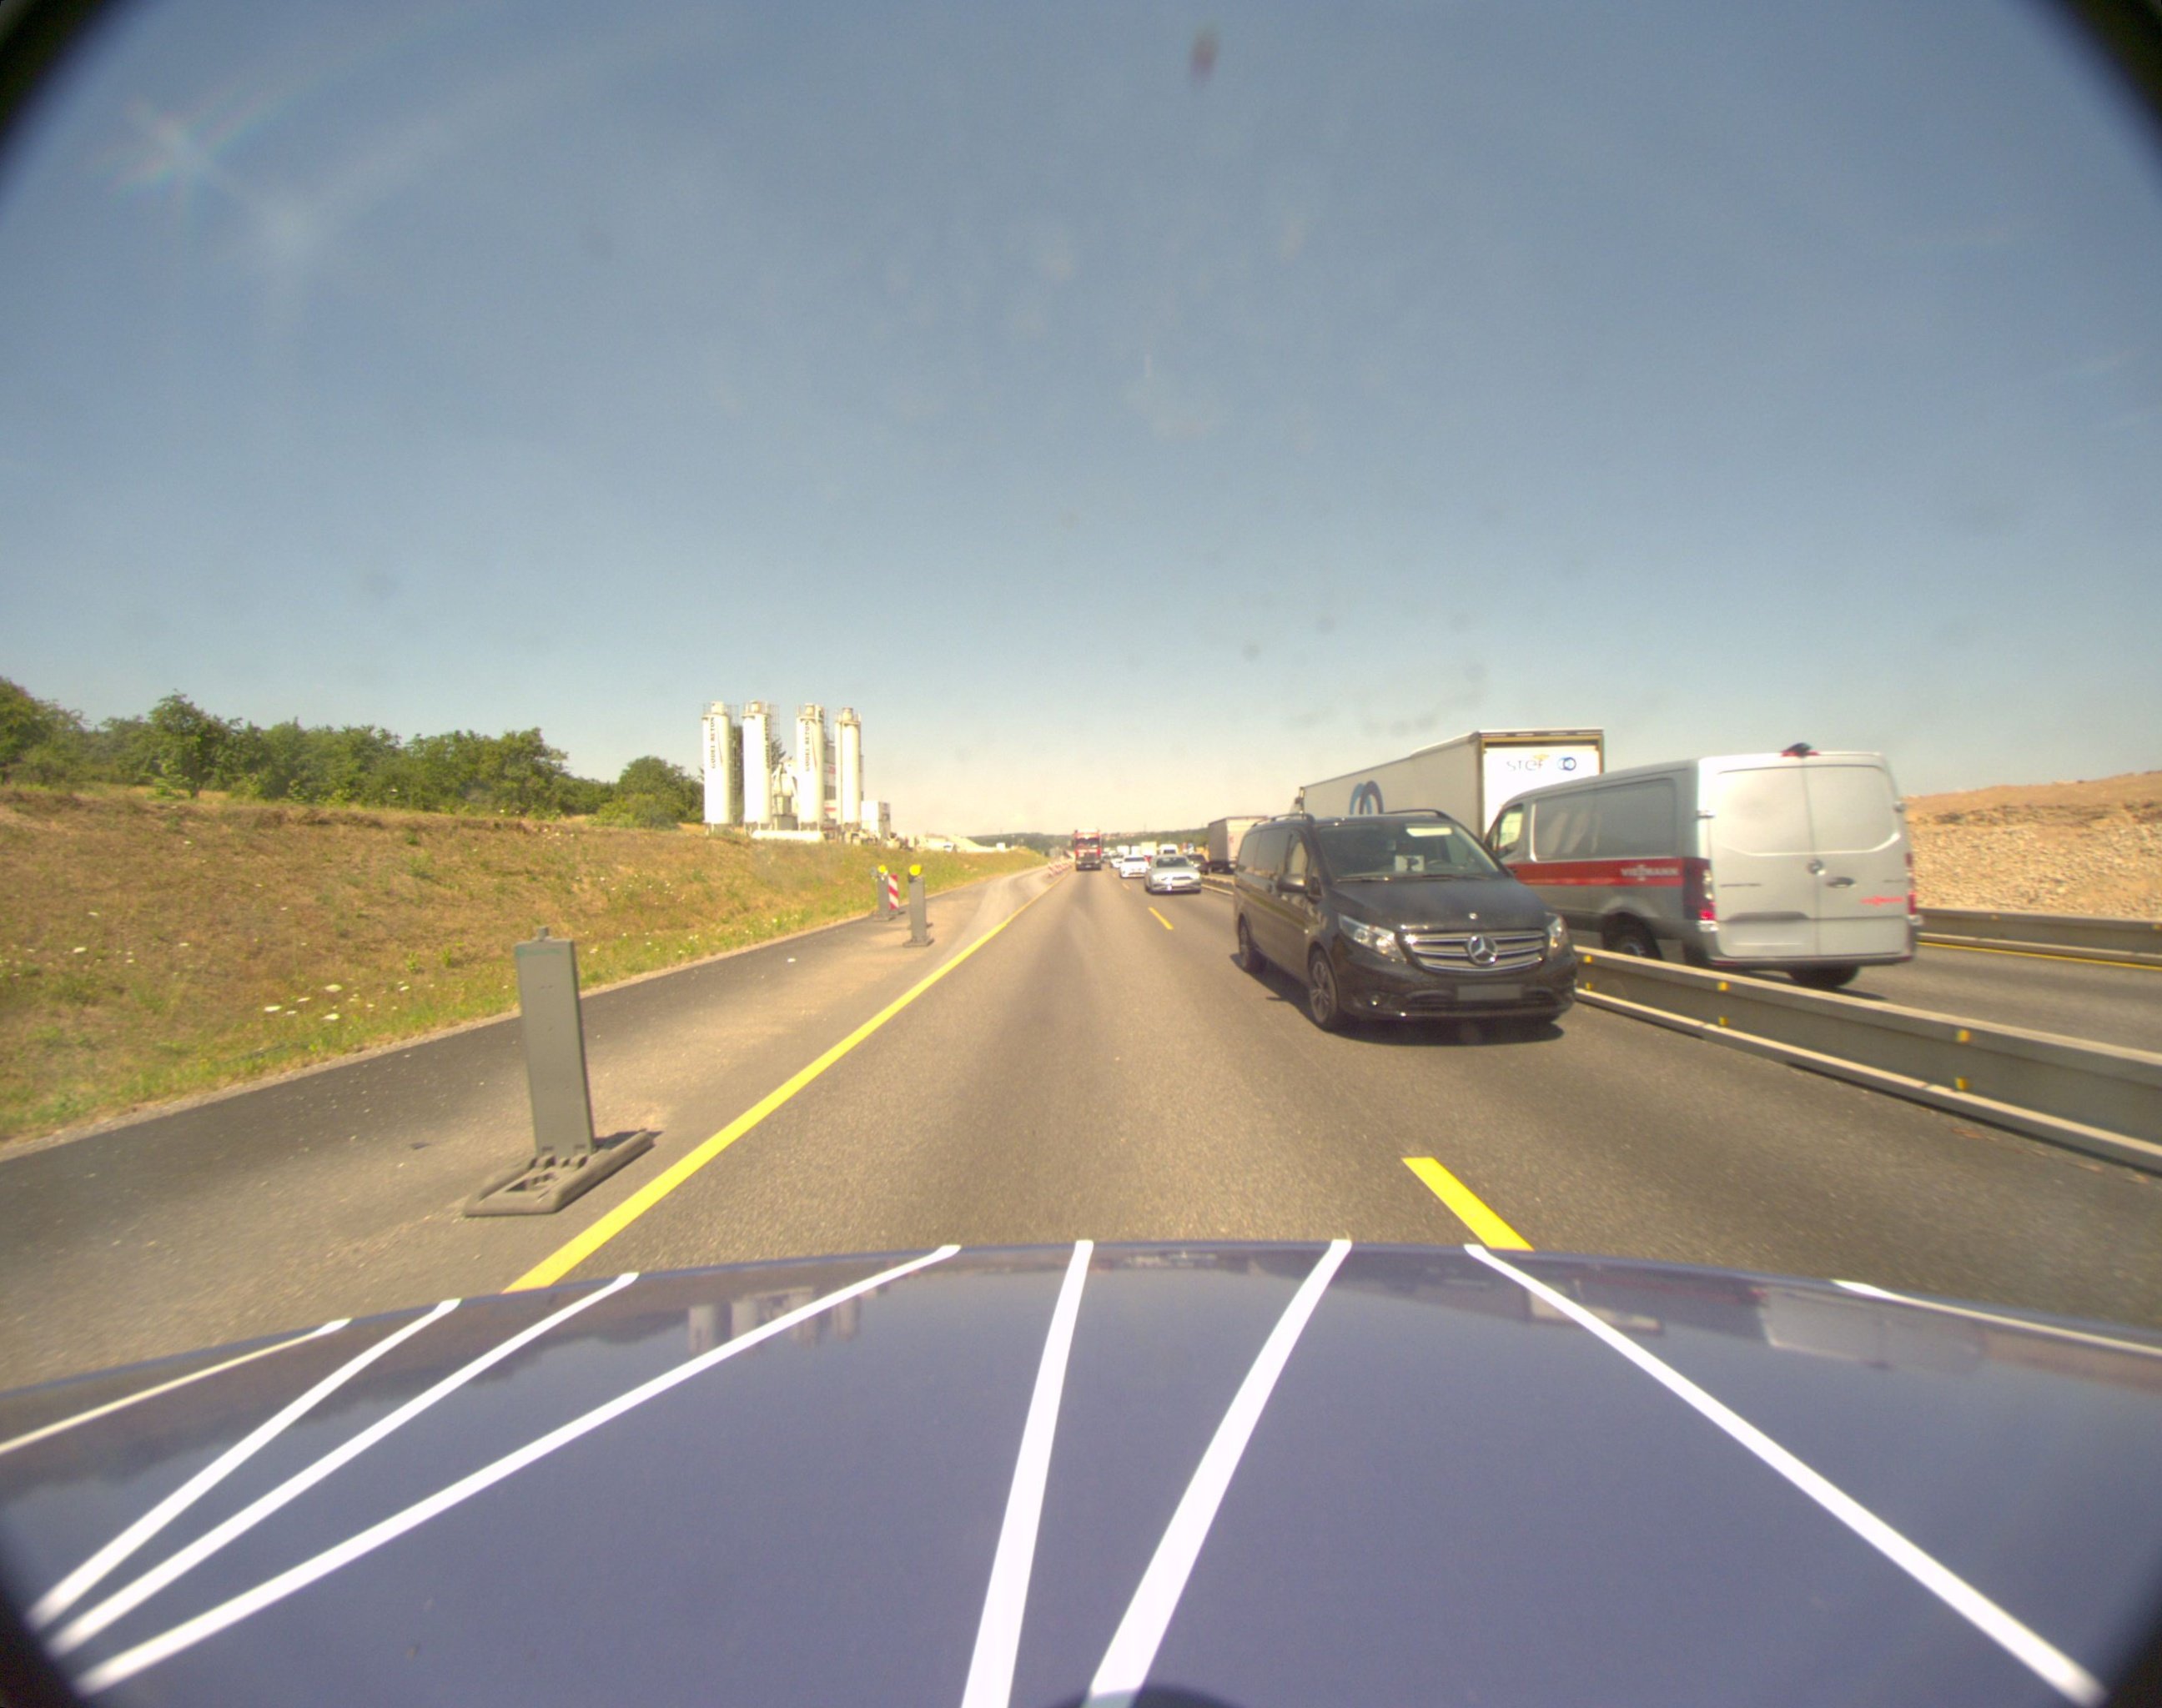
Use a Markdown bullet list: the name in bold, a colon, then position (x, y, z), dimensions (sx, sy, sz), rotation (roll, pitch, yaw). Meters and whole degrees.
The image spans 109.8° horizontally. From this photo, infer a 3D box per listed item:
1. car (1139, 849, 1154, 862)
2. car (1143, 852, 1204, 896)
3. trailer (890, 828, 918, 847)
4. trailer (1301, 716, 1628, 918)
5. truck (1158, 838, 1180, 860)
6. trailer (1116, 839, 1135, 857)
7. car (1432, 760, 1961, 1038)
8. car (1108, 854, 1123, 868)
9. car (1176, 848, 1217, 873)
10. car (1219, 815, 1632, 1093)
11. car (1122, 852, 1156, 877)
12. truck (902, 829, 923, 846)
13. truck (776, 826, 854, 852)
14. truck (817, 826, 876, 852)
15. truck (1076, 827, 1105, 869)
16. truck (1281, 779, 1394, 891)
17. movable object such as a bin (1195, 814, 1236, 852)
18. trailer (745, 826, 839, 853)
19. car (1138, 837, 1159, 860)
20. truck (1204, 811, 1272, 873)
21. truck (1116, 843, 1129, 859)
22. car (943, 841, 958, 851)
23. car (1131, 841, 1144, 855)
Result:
- **car**: position (8.210, 0.156, 95.415), dimensions (1.631, 1.476, 4.053), rotation (-2, 1, 1)
- **car**: position (3.430, 0.718, 28.782), dimensions (1.804, 1.499, 4.100), rotation (-2, 0, 1)
- **trailer**: position (-26.810, -2.476, 115.405), dimensions (1.998, 2.629, 6.937), rotation (-2, 1, 4)
- **trailer**: position (9.763, -0.826, 22.251), dimensions (2.861, 4.070, 13.651), rotation (-1, 1, 1)
- **truck**: position (11.457, -0.598, 99.185), dimensions (2.103, 2.554, 6.355), rotation (-3, -1, 0)
- **trailer**: position (11.894, -1.681, 204.876), dimensions (2.994, 4.570, 12.876), rotation (-2, 1, -5)
- **car**: position (6.453, 0.350, 9.104), dimensions (1.998, 2.279, 5.342), rotation (-2, 1, 0)
- **car**: position (3.924, 0.768, 86.419), dimensions (1.601, 1.390, 3.695), rotation (-2, 1, 2)
- **car**: position (7.539, 0.387, 49.909), dimensions (1.862, 1.434, 4.500), rotation (-2, 1, -1)
- **car**: position (2.858, 0.685, 7.947), dimensions (1.878, 1.840, 5.479), rotation (-2, 0, 1)
- **car**: position (3.588, 0.653, 47.783), dimensions (1.875, 1.390, 4.030), rotation (-2, 1, 2)
- **truck**: position (-26.517, -2.536, 119.369), dimensions (2.021, 2.530, 4.041), rotation (-2, 1, 4)
- **truck**: position (-33.697, -1.906, 96.400), dimensions (9.090, 2.852, 2.460), rotation (-2, 1, 7)
- **truck**: position (-25.296, -1.657, 81.937), dimensions (5.317, 2.530, 2.897), rotation (-3, 1, -36)
- **truck**: position (1.000, -0.630, 74.812), dimensions (2.537, 3.798, 9.481), rotation (-2, 1, 2)
- **truck**: position (9.881, -0.706, 29.833), dimensions (2.855, 3.995, 4.858), rotation (-1, 1, 1)
- **movable object such as a bin**: position (26.661, -4.136, 150.901), dimensions (7.378, 7.073, 4.081), rotation (-2, 1, 1)
- **trailer**: position (-30.575, -1.555, 80.544), dimensions (8.919, 2.592, 2.463), rotation (-1, 1, -3)
- **car**: position (11.661, -0.894, 132.400), dimensions (2.915, 3.718, 8.091), rotation (-2, 0, 1)
- **truck**: position (10.397, -0.797, 51.228), dimensions (2.651, 3.695, 9.481), rotation (-2, 1, 1)
- **truck**: position (8.394, -0.683, 154.621), dimensions (2.276, 3.132, 7.313), rotation (-2, 1, 2)
- **car**: position (-24.061, -1.428, 139.739), dimensions (1.990, 1.752, 3.601), rotation (-2, 1, 1)
- **car**: position (12.133, -1.245, 164.090), dimensions (2.257, 2.938, 5.848), rotation (-2, 1, 1)
